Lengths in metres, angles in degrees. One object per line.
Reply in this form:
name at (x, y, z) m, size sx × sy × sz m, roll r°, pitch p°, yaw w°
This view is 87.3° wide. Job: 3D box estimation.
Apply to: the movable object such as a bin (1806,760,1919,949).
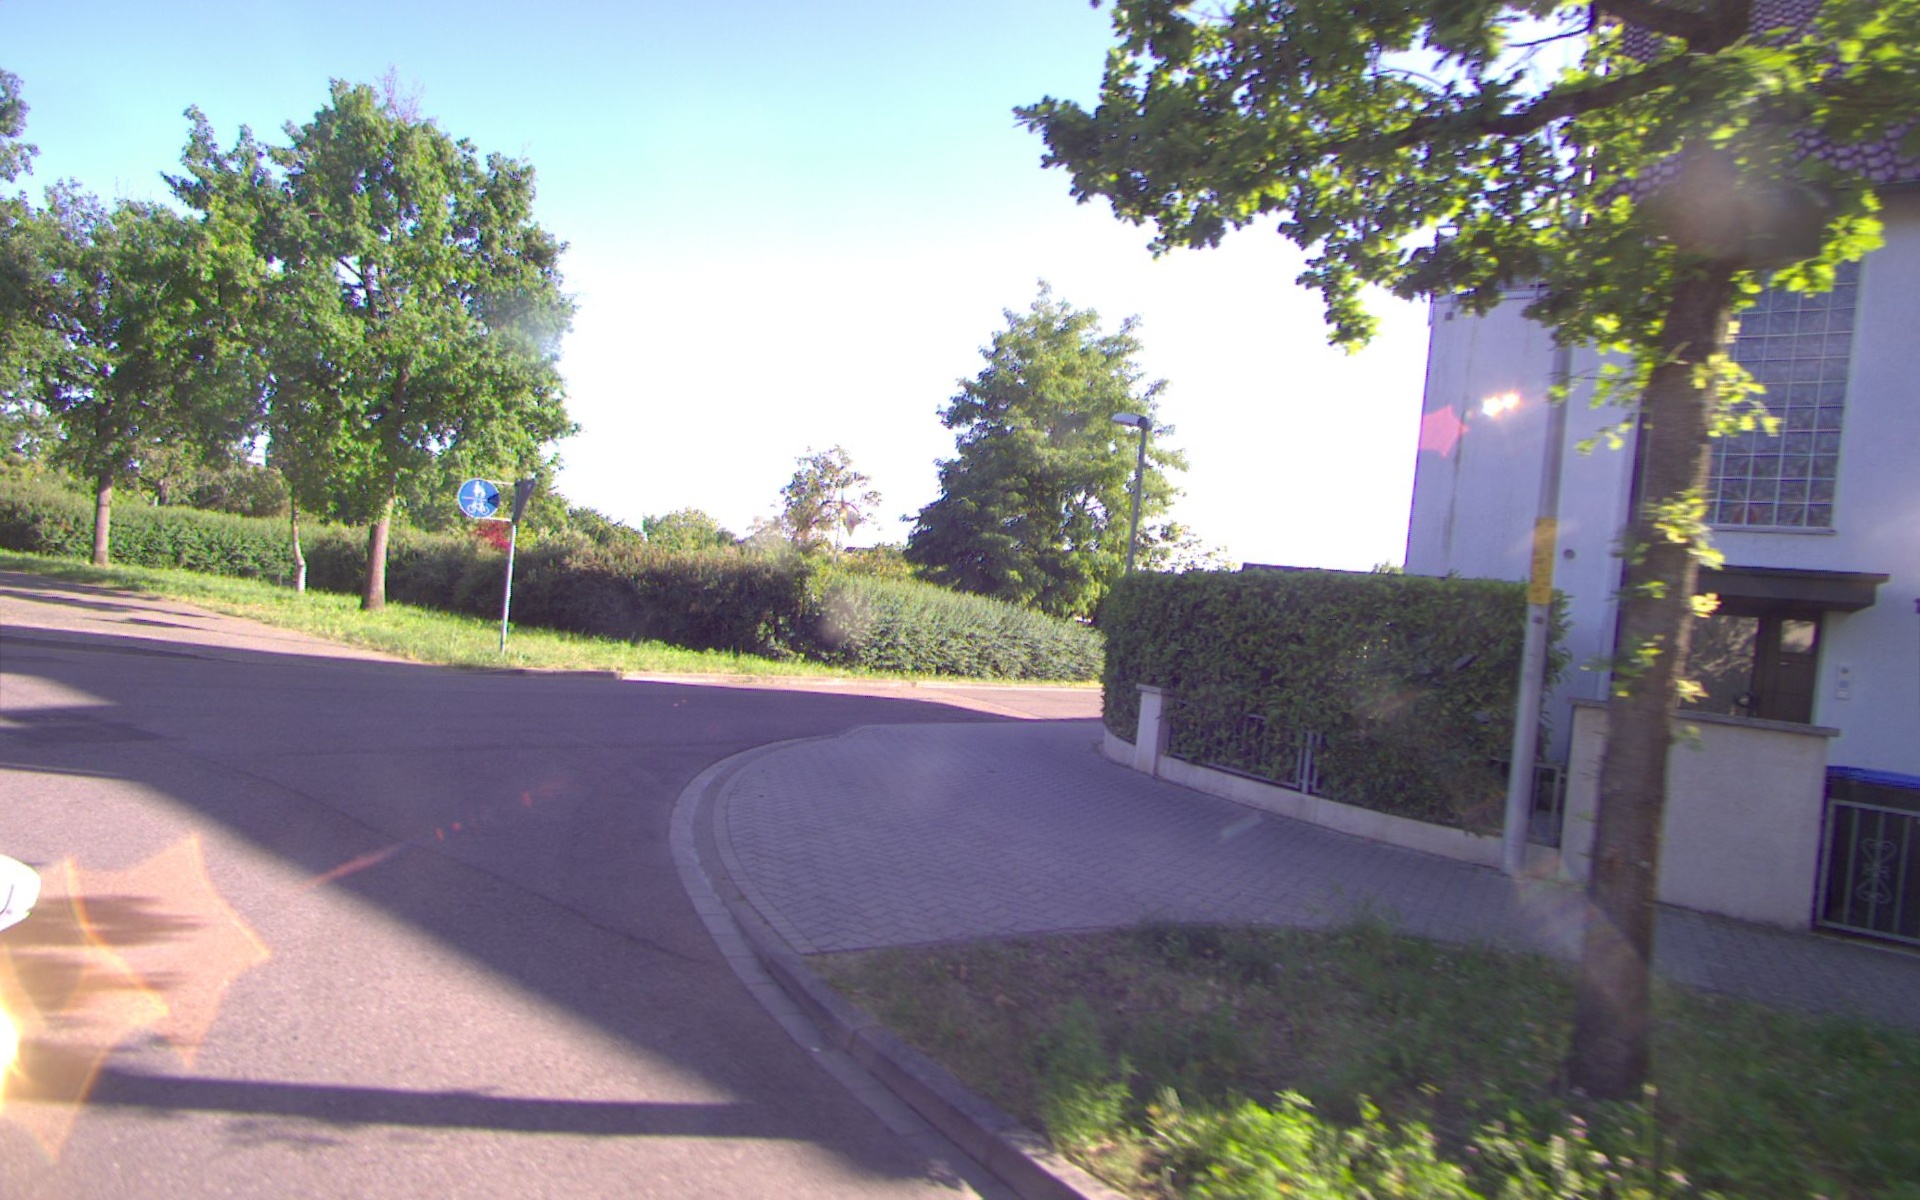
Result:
movable object such as a bin at (6.024, 1.635, 6.494) m, size 0.688 × 1.058 × 0.535 m, roll 6°, pitch 0°, yaw 31°
